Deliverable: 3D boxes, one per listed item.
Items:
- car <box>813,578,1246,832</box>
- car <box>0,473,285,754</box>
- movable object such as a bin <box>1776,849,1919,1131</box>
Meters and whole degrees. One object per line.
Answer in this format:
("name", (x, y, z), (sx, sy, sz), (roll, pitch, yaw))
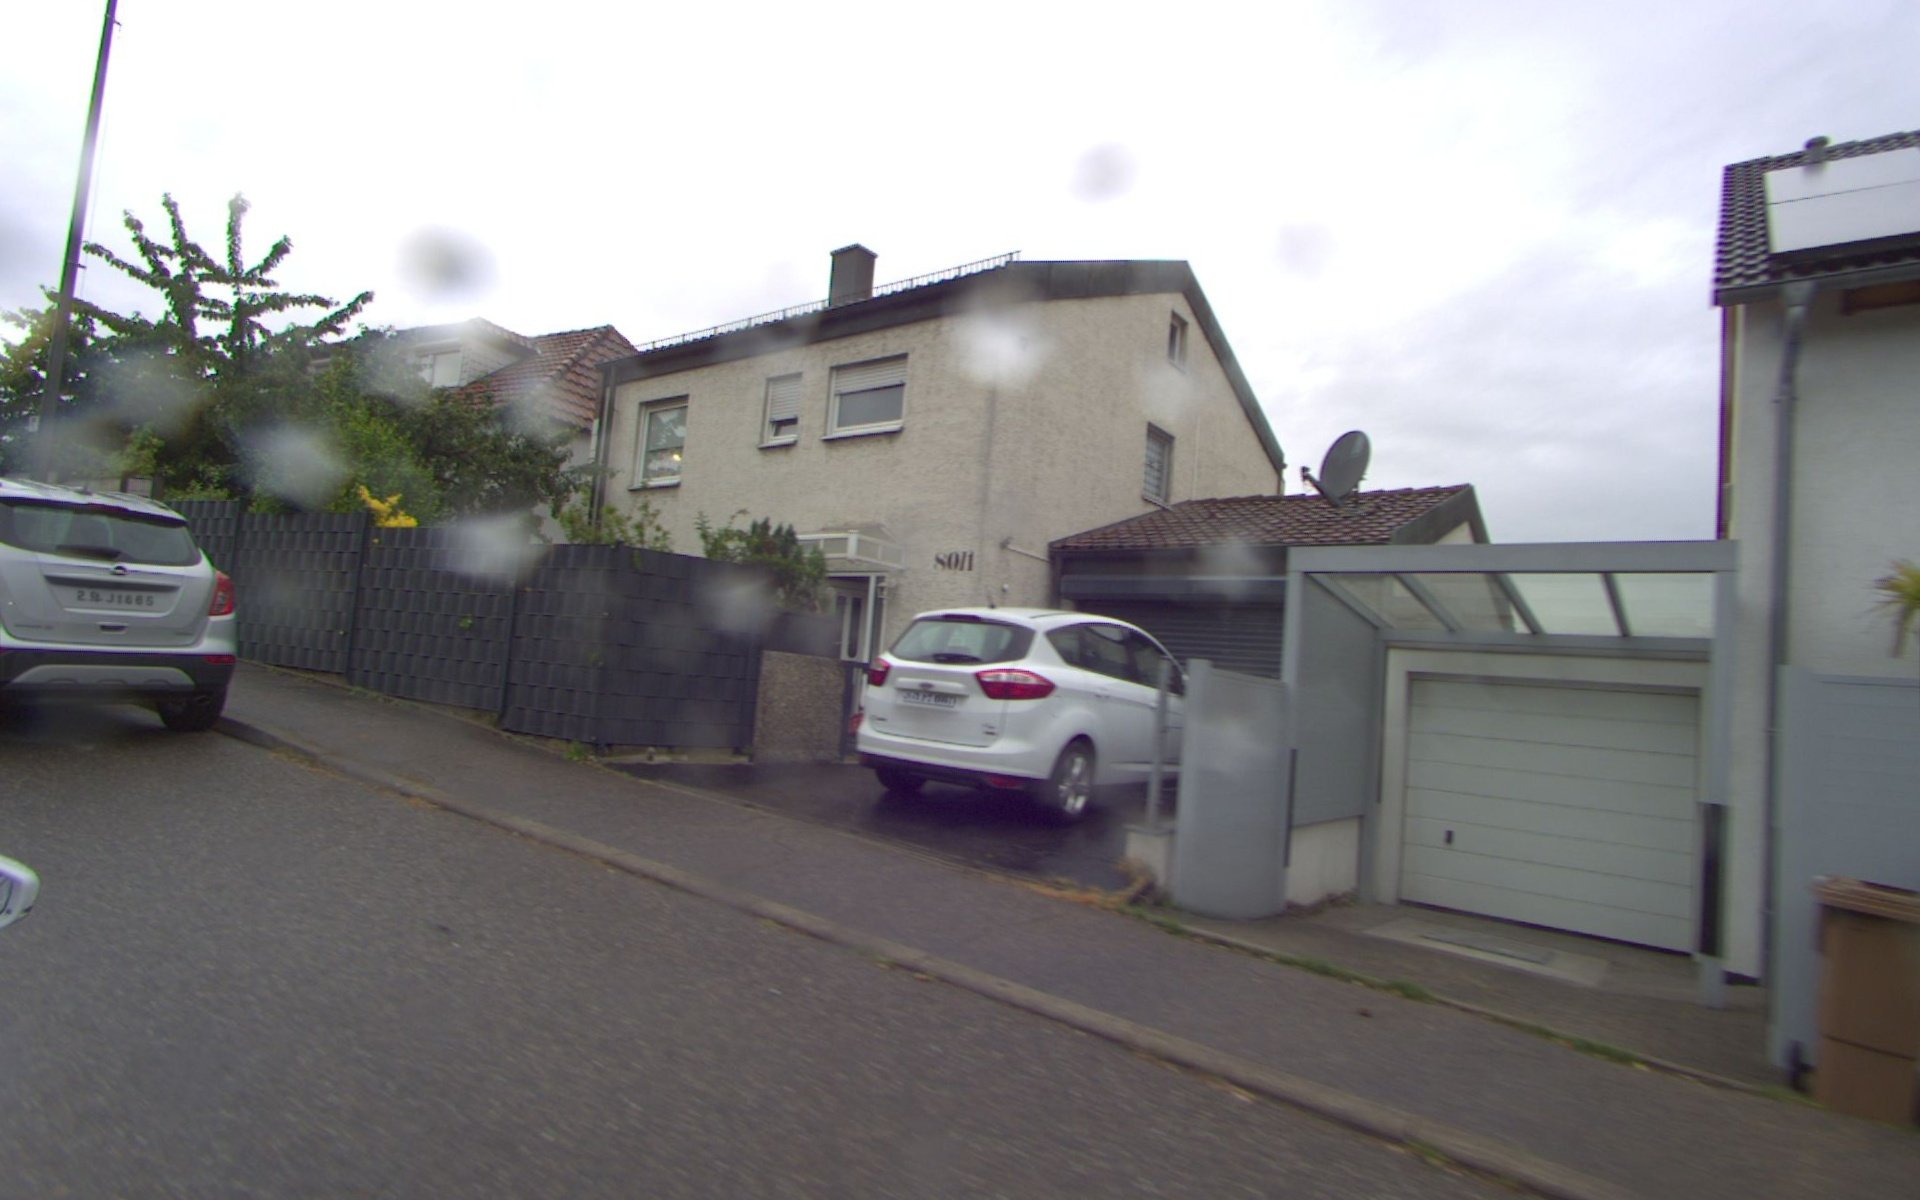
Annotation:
("car", (0.847, 0.914, 8.903), (1.905, 1.607, 3.992), (5, -4, 35))
("car", (-7.148, -0.075, 7.438), (4.215, 1.647, 1.807), (6, 0, 30))
("movable object such as a bin", (3.736, 1.571, 4.120), (0.492, 0.950, 0.432), (7, -1, 35))
